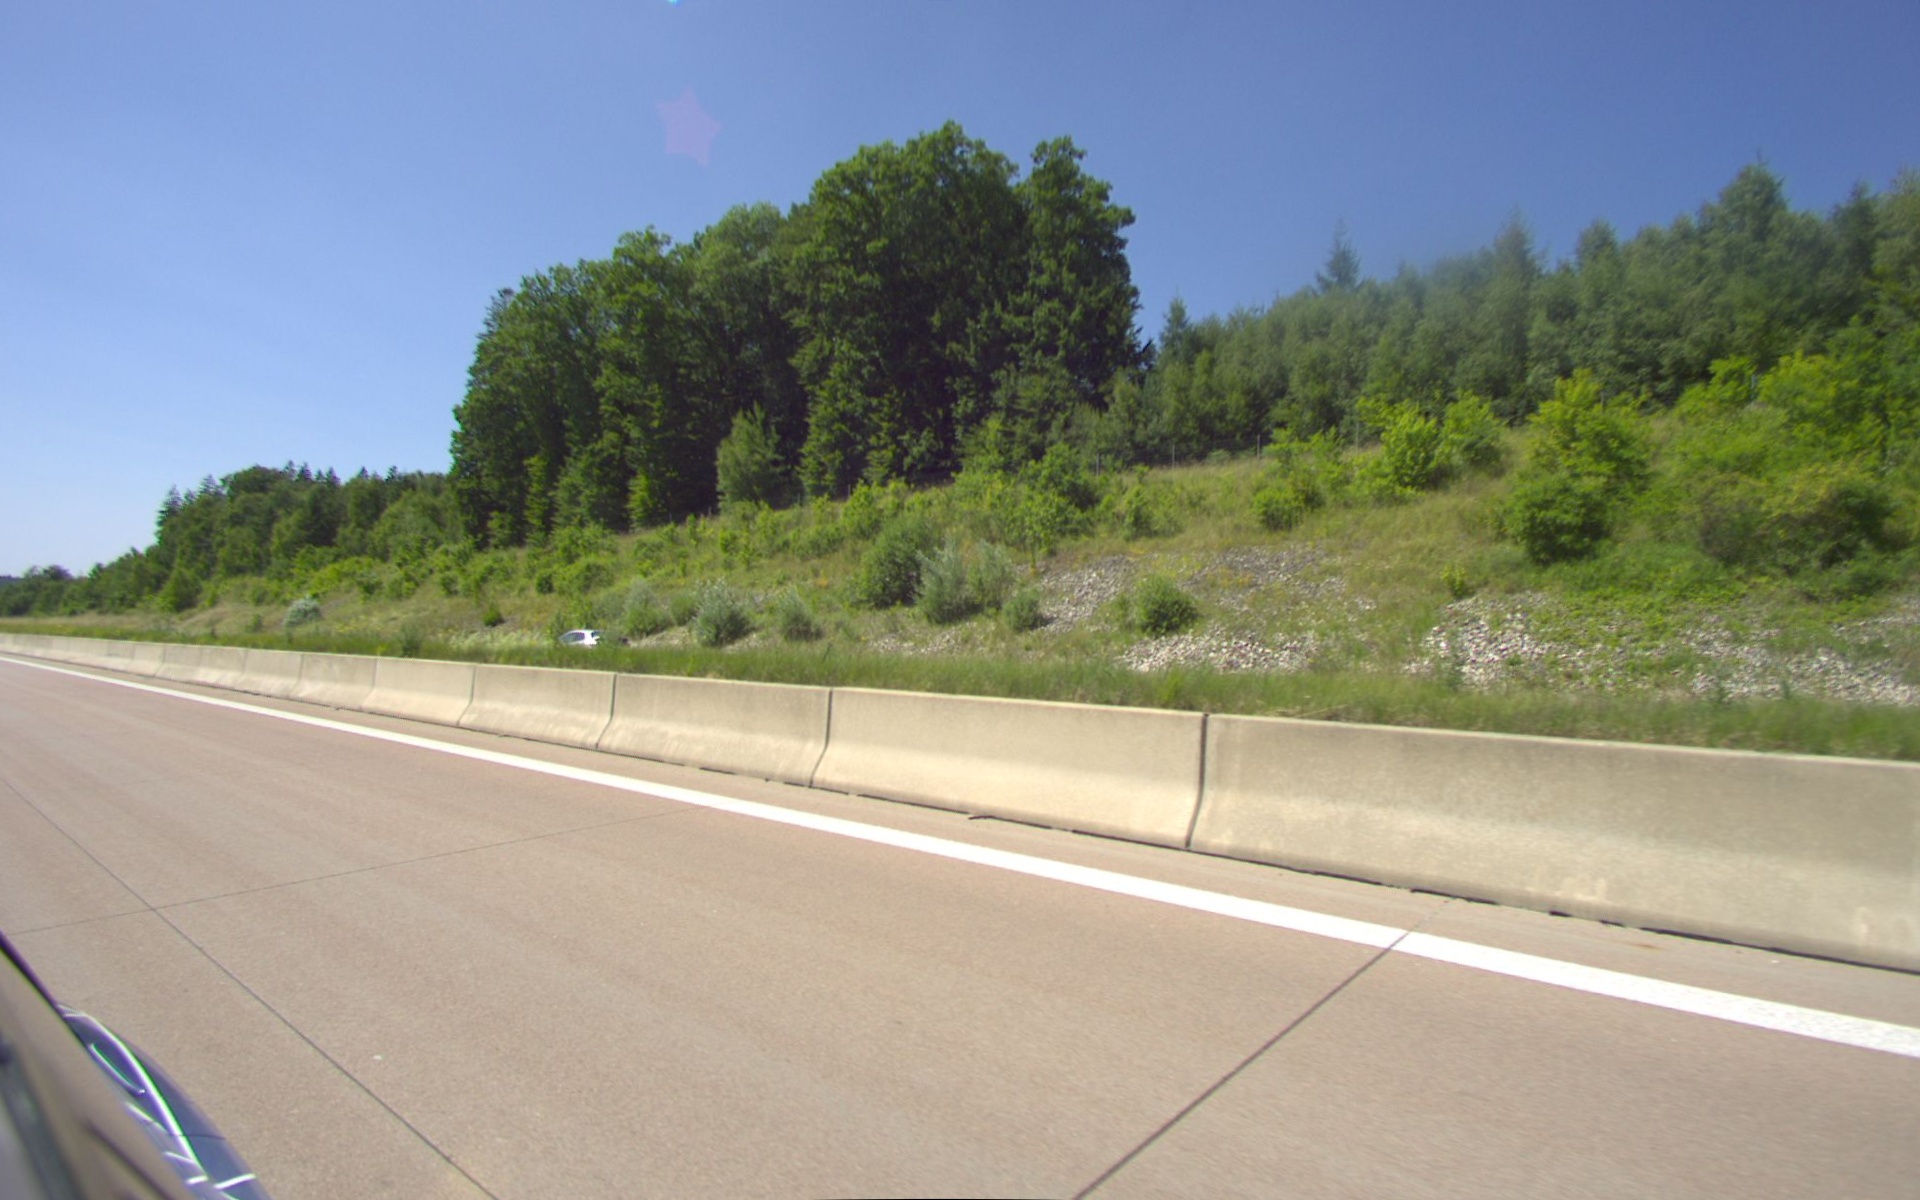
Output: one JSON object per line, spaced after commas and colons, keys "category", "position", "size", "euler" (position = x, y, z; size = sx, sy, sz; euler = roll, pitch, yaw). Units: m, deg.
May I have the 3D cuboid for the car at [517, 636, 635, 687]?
{"category": "car", "position": [-13.818, 2.162, 36.268], "size": [4.658, 1.664, 1.872], "euler": [-2, -2, 39]}

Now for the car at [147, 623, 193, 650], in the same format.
{"category": "car", "position": [-62.404, 2.889, 79.934], "size": [4.658, 2.080, 1.872], "euler": [-2, -2, 39]}
